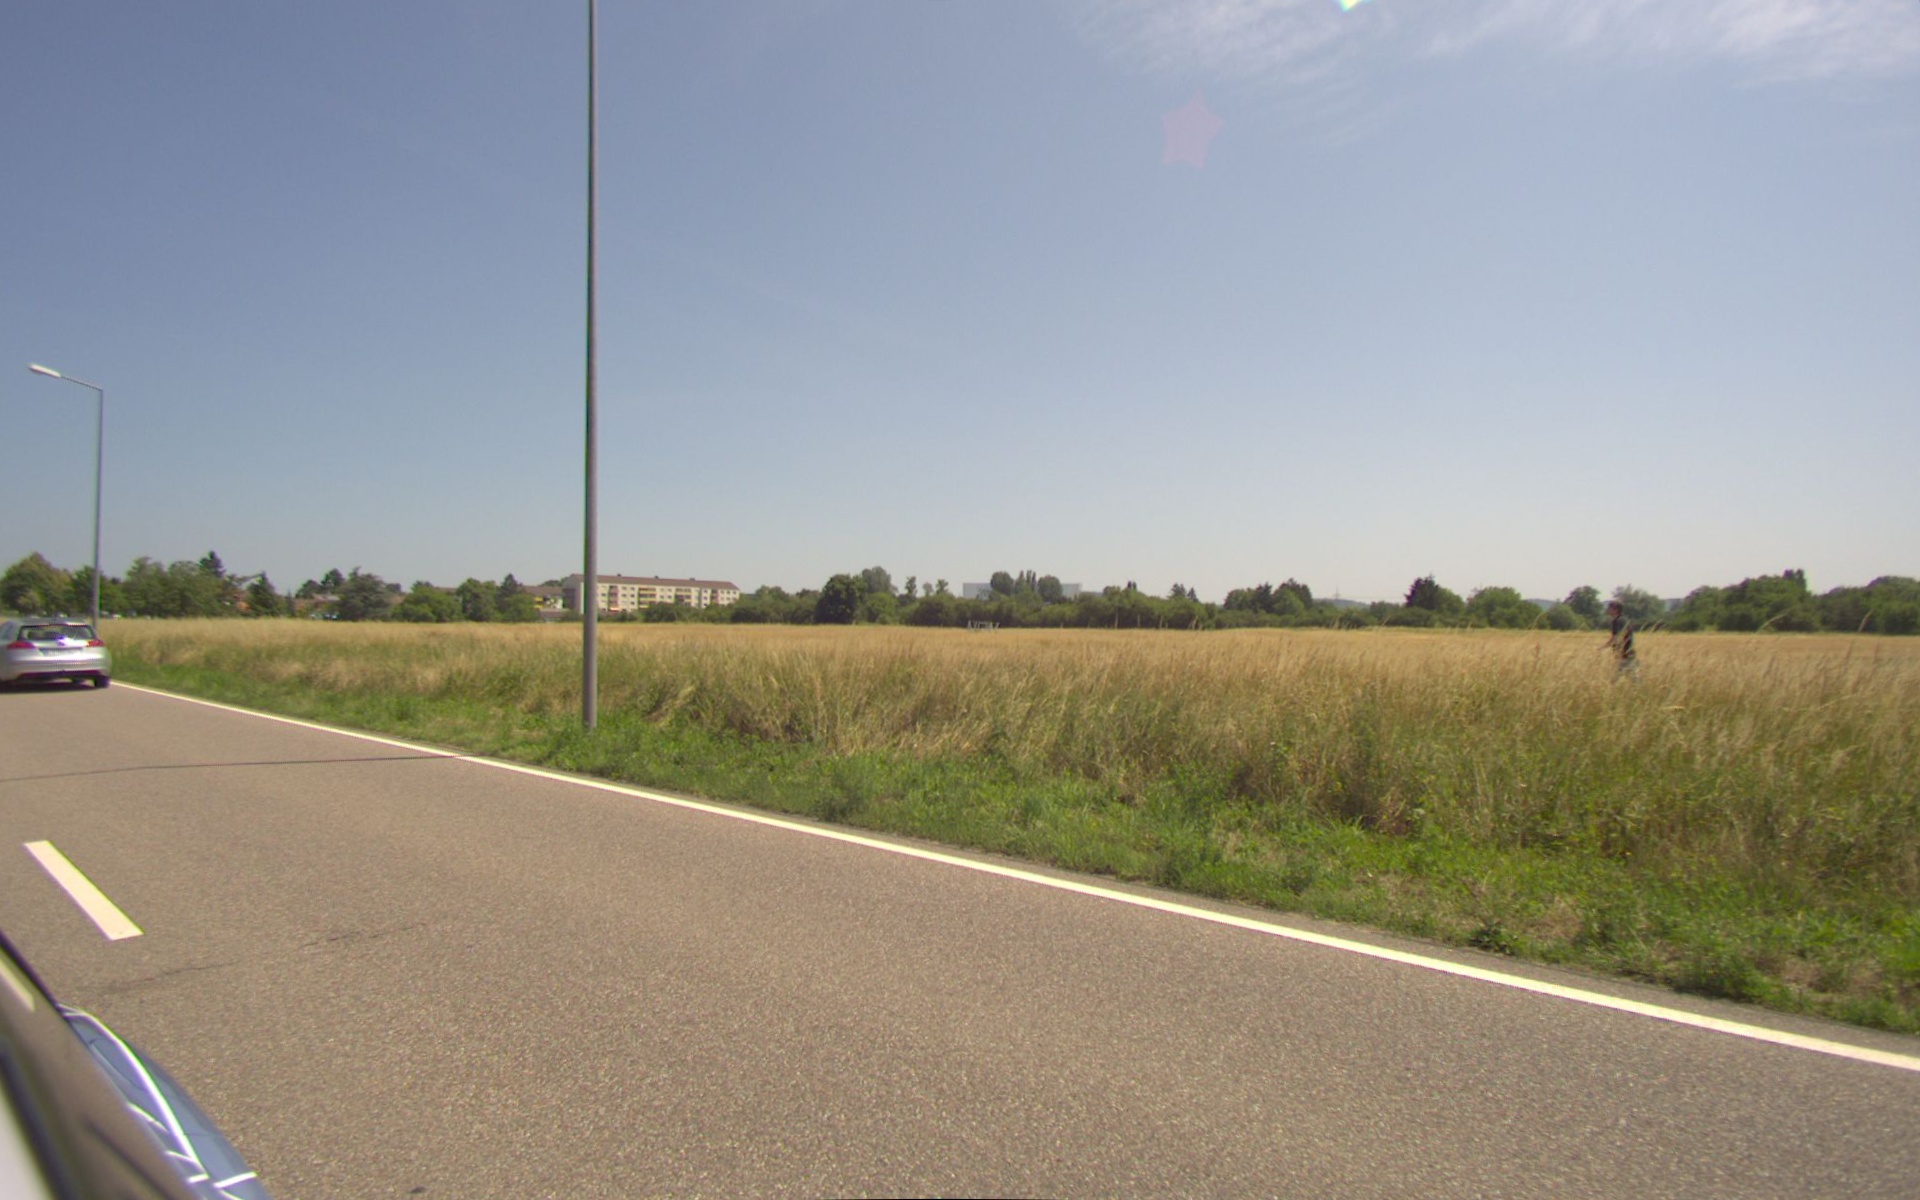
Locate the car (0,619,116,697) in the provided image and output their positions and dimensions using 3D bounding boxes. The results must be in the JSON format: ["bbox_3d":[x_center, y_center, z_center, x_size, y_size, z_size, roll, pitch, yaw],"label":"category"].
[{"bbox_3d":[-19.483,1.157,21.392,4.676,1.478,1.815,-1,-2,41],"label":"car"}]
